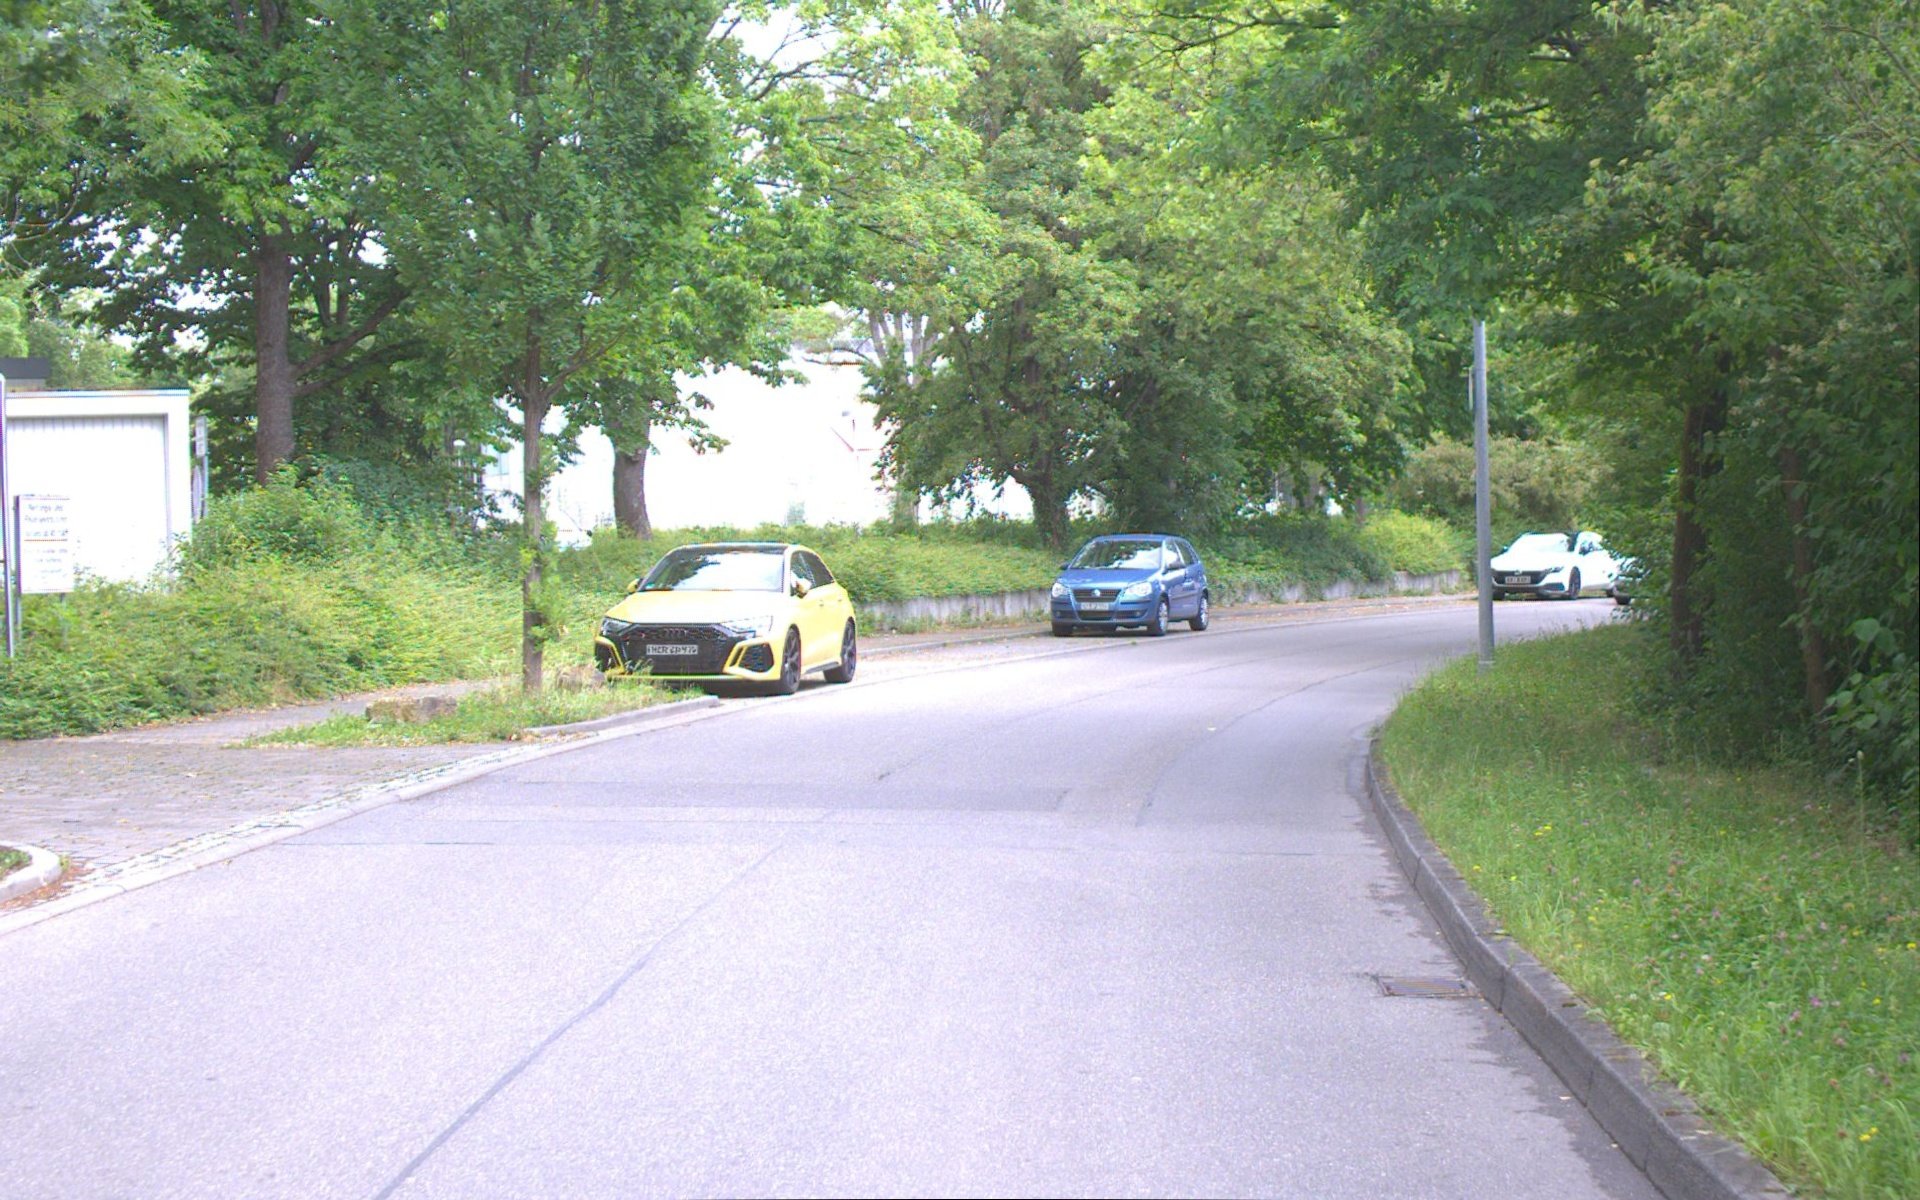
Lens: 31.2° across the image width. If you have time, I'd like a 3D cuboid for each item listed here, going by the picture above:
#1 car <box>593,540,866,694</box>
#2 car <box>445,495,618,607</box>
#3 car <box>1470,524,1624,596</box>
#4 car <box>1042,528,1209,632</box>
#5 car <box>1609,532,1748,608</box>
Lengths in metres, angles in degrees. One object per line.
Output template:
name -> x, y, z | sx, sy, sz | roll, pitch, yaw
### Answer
car -> -2.154, 0.123, 33.328 | 1.701, 1.398, 4.272 | 0, 1, 9
car -> -6.674, -0.761, 53.194 | 1.740, 1.616, 3.874 | -2, 2, -21
car -> 12.198, -0.852, 71.263 | 1.817, 1.419, 4.354 | 1, 1, 29
car -> 2.476, -0.313, 50.608 | 1.535, 1.454, 3.717 | -1, 1, 18
car -> 14.520, -0.628, 69.339 | 1.679, 1.457, 4.055 | 2, 2, 28
